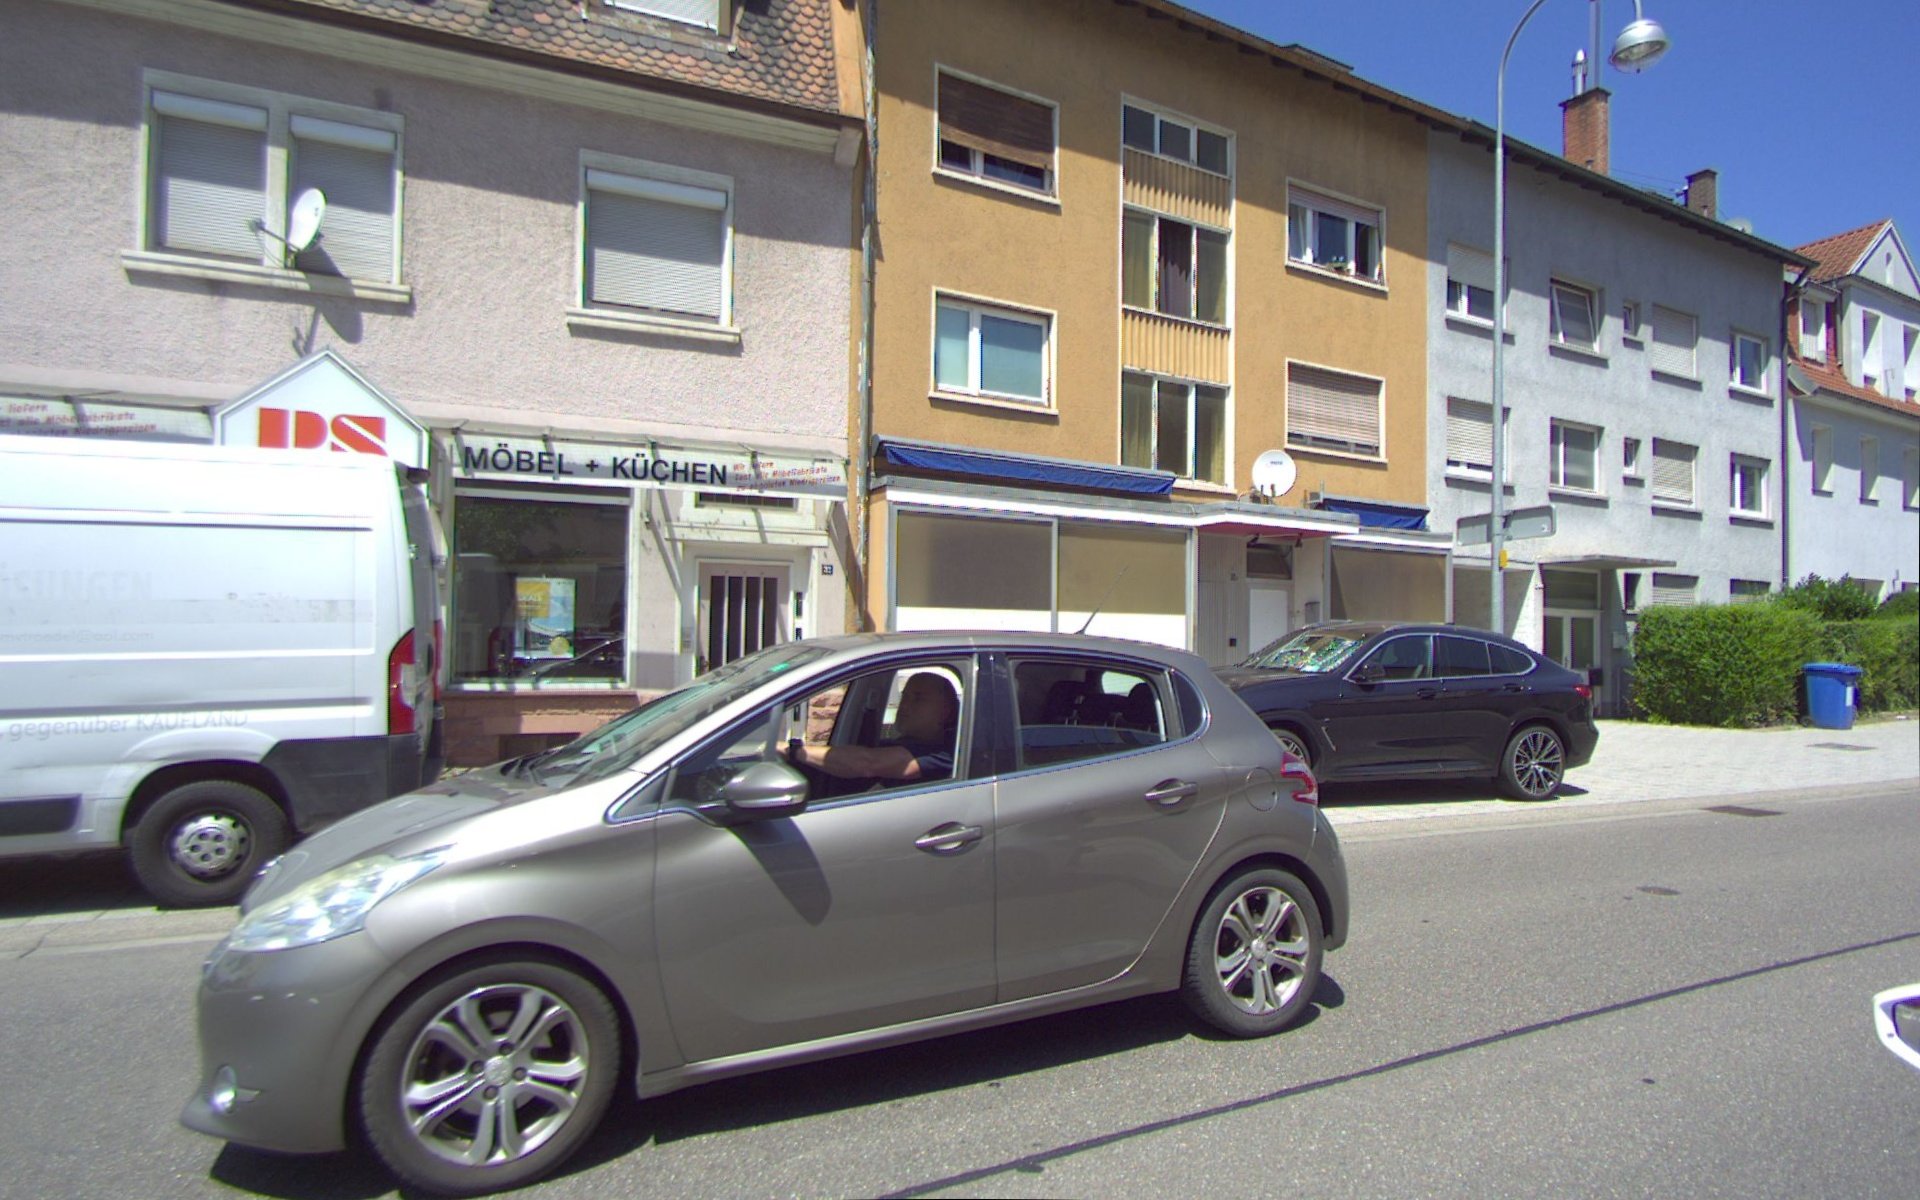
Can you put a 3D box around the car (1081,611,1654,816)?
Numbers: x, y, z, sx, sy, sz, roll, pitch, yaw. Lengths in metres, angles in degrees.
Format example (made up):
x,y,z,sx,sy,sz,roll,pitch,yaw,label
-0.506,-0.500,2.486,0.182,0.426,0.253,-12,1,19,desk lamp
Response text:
x,y,z,sx,sy,sz,roll,pitch,yaw,label
3.923,0.964,9.842,5.026,1.636,2.084,1,0,-17,car

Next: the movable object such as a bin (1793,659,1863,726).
x,y,z,sx,sy,sz,roll,pitch,yaw,label
14.393,1.519,16.662,0.644,1.061,0.670,1,-2,-27,movable object such as a bin

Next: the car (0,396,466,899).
x,y,z,sx,sy,sz,roll,pitch,yaw,label
-6.162,0.197,5.487,6.031,2.482,2.114,2,0,-23,car

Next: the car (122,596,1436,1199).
x,y,z,sx,sy,sz,roll,pitch,yaw,label
-0.345,0.777,3.778,3.945,1.430,1.727,1,-3,-25,car
